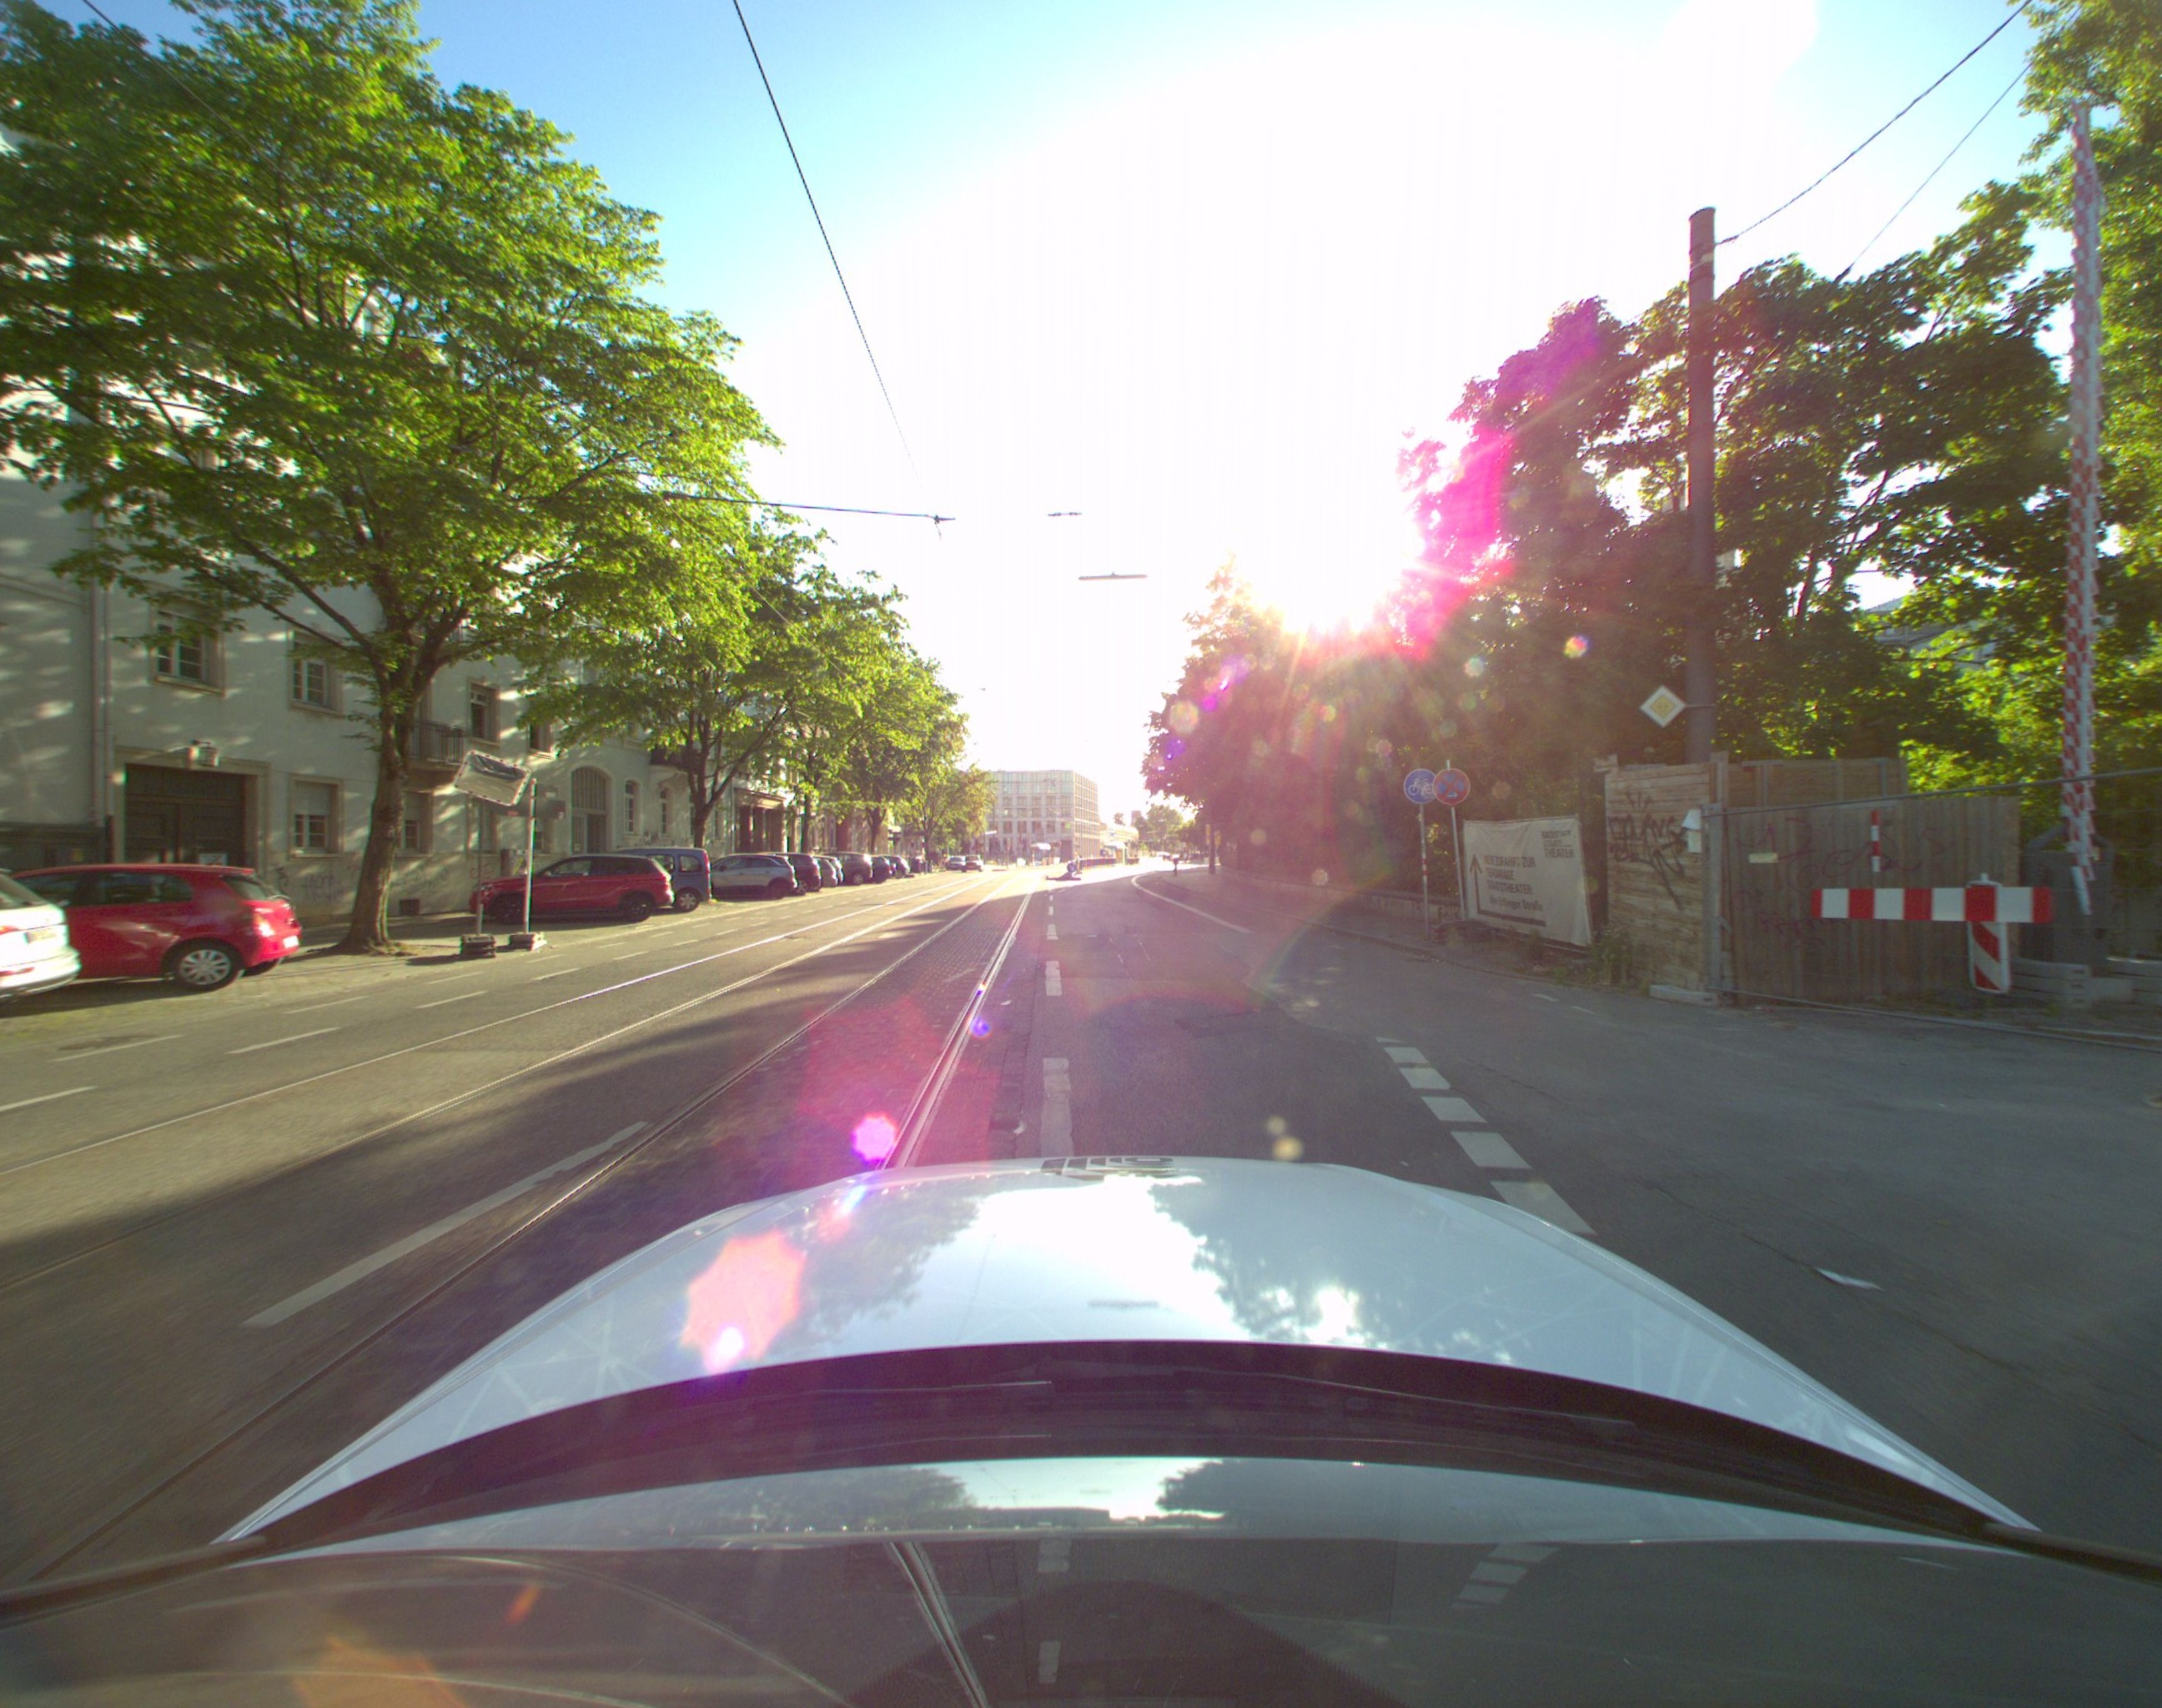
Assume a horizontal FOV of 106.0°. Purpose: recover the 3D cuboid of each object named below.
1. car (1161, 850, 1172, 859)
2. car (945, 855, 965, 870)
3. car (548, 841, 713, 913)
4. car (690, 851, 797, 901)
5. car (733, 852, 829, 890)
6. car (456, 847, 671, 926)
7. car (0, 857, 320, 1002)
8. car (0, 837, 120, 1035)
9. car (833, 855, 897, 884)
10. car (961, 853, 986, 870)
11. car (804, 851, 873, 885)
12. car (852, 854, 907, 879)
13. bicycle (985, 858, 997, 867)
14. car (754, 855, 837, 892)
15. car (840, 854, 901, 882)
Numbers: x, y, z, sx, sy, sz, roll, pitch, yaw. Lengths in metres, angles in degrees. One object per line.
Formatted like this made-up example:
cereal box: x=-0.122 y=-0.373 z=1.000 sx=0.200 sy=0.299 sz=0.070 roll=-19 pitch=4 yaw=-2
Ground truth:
car: x=20.126 y=0.197 z=191.425 sx=1.980 sy=2.013 sz=4.013 roll=-1 pitch=0 yaw=12
car: x=-13.218 y=0.839 z=85.769 sx=1.569 sy=1.490 sz=3.997 roll=-1 pitch=0 yaw=-2
car: x=-12.411 y=0.620 z=22.541 sx=3.854 sy=1.832 sz=1.714 roll=1 pitch=-1 yaw=-33
car: x=-12.088 y=0.745 z=29.203 sx=3.394 sy=1.697 sz=1.392 roll=0 pitch=0 yaw=-30
car: x=-11.905 y=0.659 z=32.316 sx=3.394 sy=1.420 sz=1.392 roll=0 pitch=0 yaw=-30
car: x=-12.160 y=0.695 z=19.427 sx=4.186 sy=1.720 sz=1.569 roll=0 pitch=0 yaw=-30
car: x=-11.784 y=0.838 z=9.790 sx=3.703 sy=1.527 sz=1.467 roll=-1 pitch=0 yaw=-38
car: x=-11.093 y=0.735 z=6.791 sx=3.703 sy=1.721 sz=1.593 roll=-1 pitch=0 yaw=-38
car: x=-12.152 y=0.845 z=45.735 sx=3.287 sy=1.585 sz=1.458 roll=-1 pitch=0 yaw=-25
car: x=-9.675 y=0.648 z=73.439 sx=1.552 sy=1.530 sz=4.002 roll=-1 pitch=0 yaw=2
car: x=-12.555 y=0.714 z=42.202 sx=3.287 sy=1.698 sz=1.458 roll=-1 pitch=0 yaw=-25
car: x=-13.133 y=0.796 z=53.085 sx=3.287 sy=1.585 sz=1.458 roll=-1 pitch=0 yaw=-25
bicycle: x=-13.229 y=1.281 z=119.832 sx=1.794 sy=1.224 sz=0.597 roll=-1 pitch=0 yaw=-11
car: x=-12.254 y=0.812 z=34.961 sx=3.287 sy=1.484 sz=1.458 roll=-1 pitch=0 yaw=-25
car: x=-12.489 y=0.803 z=48.333 sx=3.287 sy=1.585 sz=1.458 roll=-1 pitch=0 yaw=-25
